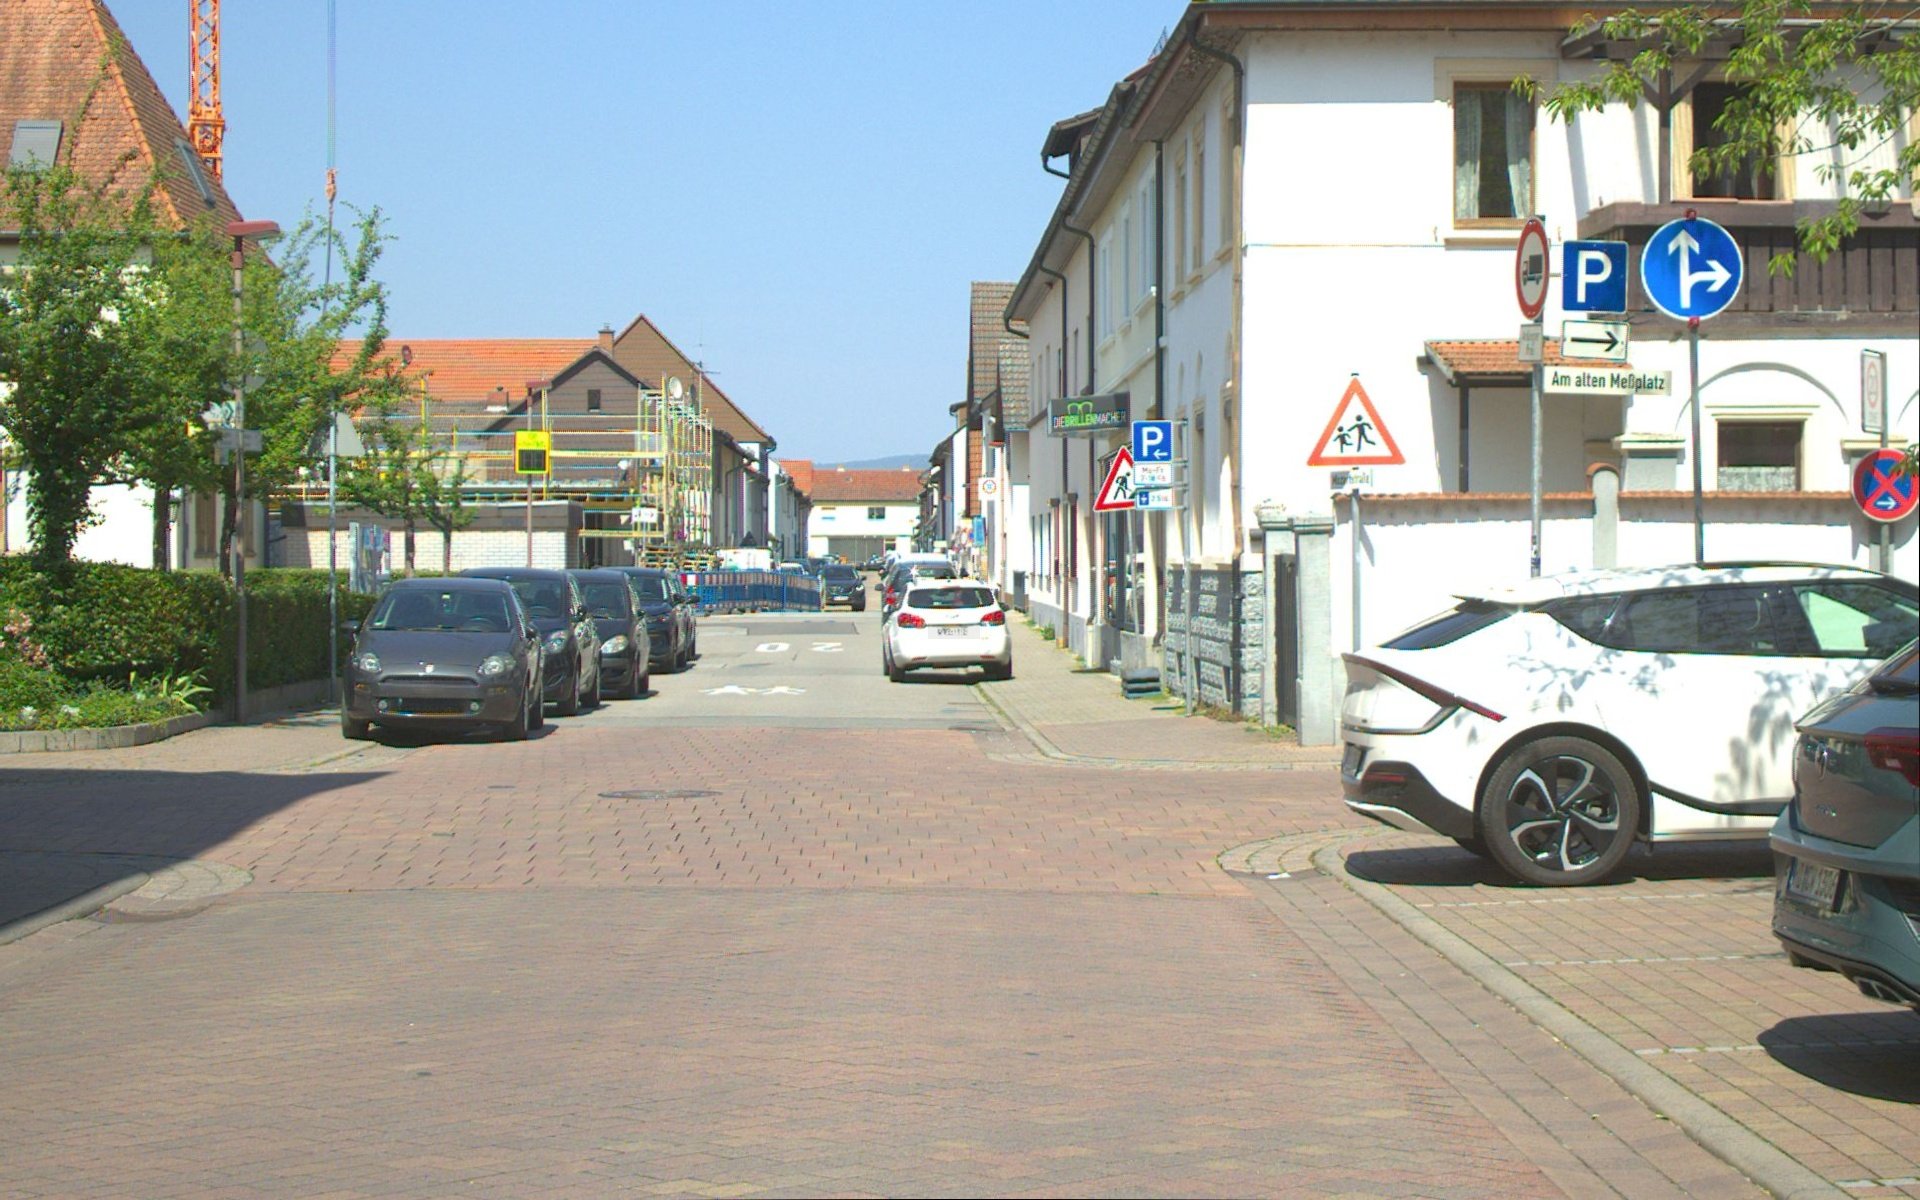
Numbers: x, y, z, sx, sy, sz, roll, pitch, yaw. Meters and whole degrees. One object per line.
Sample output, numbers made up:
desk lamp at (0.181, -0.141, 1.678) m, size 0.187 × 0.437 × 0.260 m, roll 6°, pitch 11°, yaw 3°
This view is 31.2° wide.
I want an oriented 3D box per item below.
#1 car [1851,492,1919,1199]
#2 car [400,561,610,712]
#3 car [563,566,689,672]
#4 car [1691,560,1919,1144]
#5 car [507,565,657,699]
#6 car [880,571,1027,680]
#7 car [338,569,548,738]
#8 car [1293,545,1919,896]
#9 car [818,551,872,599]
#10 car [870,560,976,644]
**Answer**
car at (4.314, 0.563, 7.261) m, size 4.278 × 1.675 × 2.001 m, roll -1°, pitch 1°, yaw -3°
car at (-5.039, 0.365, 38.547) m, size 1.815 × 1.599 × 4.024 m, roll 0°, pitch 1°, yaw 0°
car at (-5.306, 0.269, 55.002) m, size 1.826 × 1.625 × 4.217 m, roll 0°, pitch 1°, yaw -3°
car at (4.340, 0.605, 10.061) m, size 3.943 × 1.529 × 1.824 m, roll -2°, pitch 0°, yaw -1°
car at (-4.824, 0.375, 44.225) m, size 1.637 × 1.623 × 3.768 m, roll 0°, pitch 1°, yaw -2°
car at (-0.058, 0.345, 51.281) m, size 1.887 × 1.536 × 4.242 m, roll 0°, pitch 1°, yaw 4°
car at (-4.858, 0.460, 32.701) m, size 1.702 × 1.491 × 3.858 m, roll 0°, pitch 1°, yaw -5°
car at (4.035, 0.539, 17.293) m, size 4.439 × 1.570 × 1.789 m, roll -2°, pitch 1°, yaw -3°
car at (-4.094, -0.886, 122.494) m, size 1.881 × 1.662 × 4.154 m, roll 0°, pitch 1°, yaw -2°
car at (-0.791, 0.024, 70.980) m, size 1.884 × 1.550 × 3.895 m, roll -3°, pitch 1°, yaw -4°
